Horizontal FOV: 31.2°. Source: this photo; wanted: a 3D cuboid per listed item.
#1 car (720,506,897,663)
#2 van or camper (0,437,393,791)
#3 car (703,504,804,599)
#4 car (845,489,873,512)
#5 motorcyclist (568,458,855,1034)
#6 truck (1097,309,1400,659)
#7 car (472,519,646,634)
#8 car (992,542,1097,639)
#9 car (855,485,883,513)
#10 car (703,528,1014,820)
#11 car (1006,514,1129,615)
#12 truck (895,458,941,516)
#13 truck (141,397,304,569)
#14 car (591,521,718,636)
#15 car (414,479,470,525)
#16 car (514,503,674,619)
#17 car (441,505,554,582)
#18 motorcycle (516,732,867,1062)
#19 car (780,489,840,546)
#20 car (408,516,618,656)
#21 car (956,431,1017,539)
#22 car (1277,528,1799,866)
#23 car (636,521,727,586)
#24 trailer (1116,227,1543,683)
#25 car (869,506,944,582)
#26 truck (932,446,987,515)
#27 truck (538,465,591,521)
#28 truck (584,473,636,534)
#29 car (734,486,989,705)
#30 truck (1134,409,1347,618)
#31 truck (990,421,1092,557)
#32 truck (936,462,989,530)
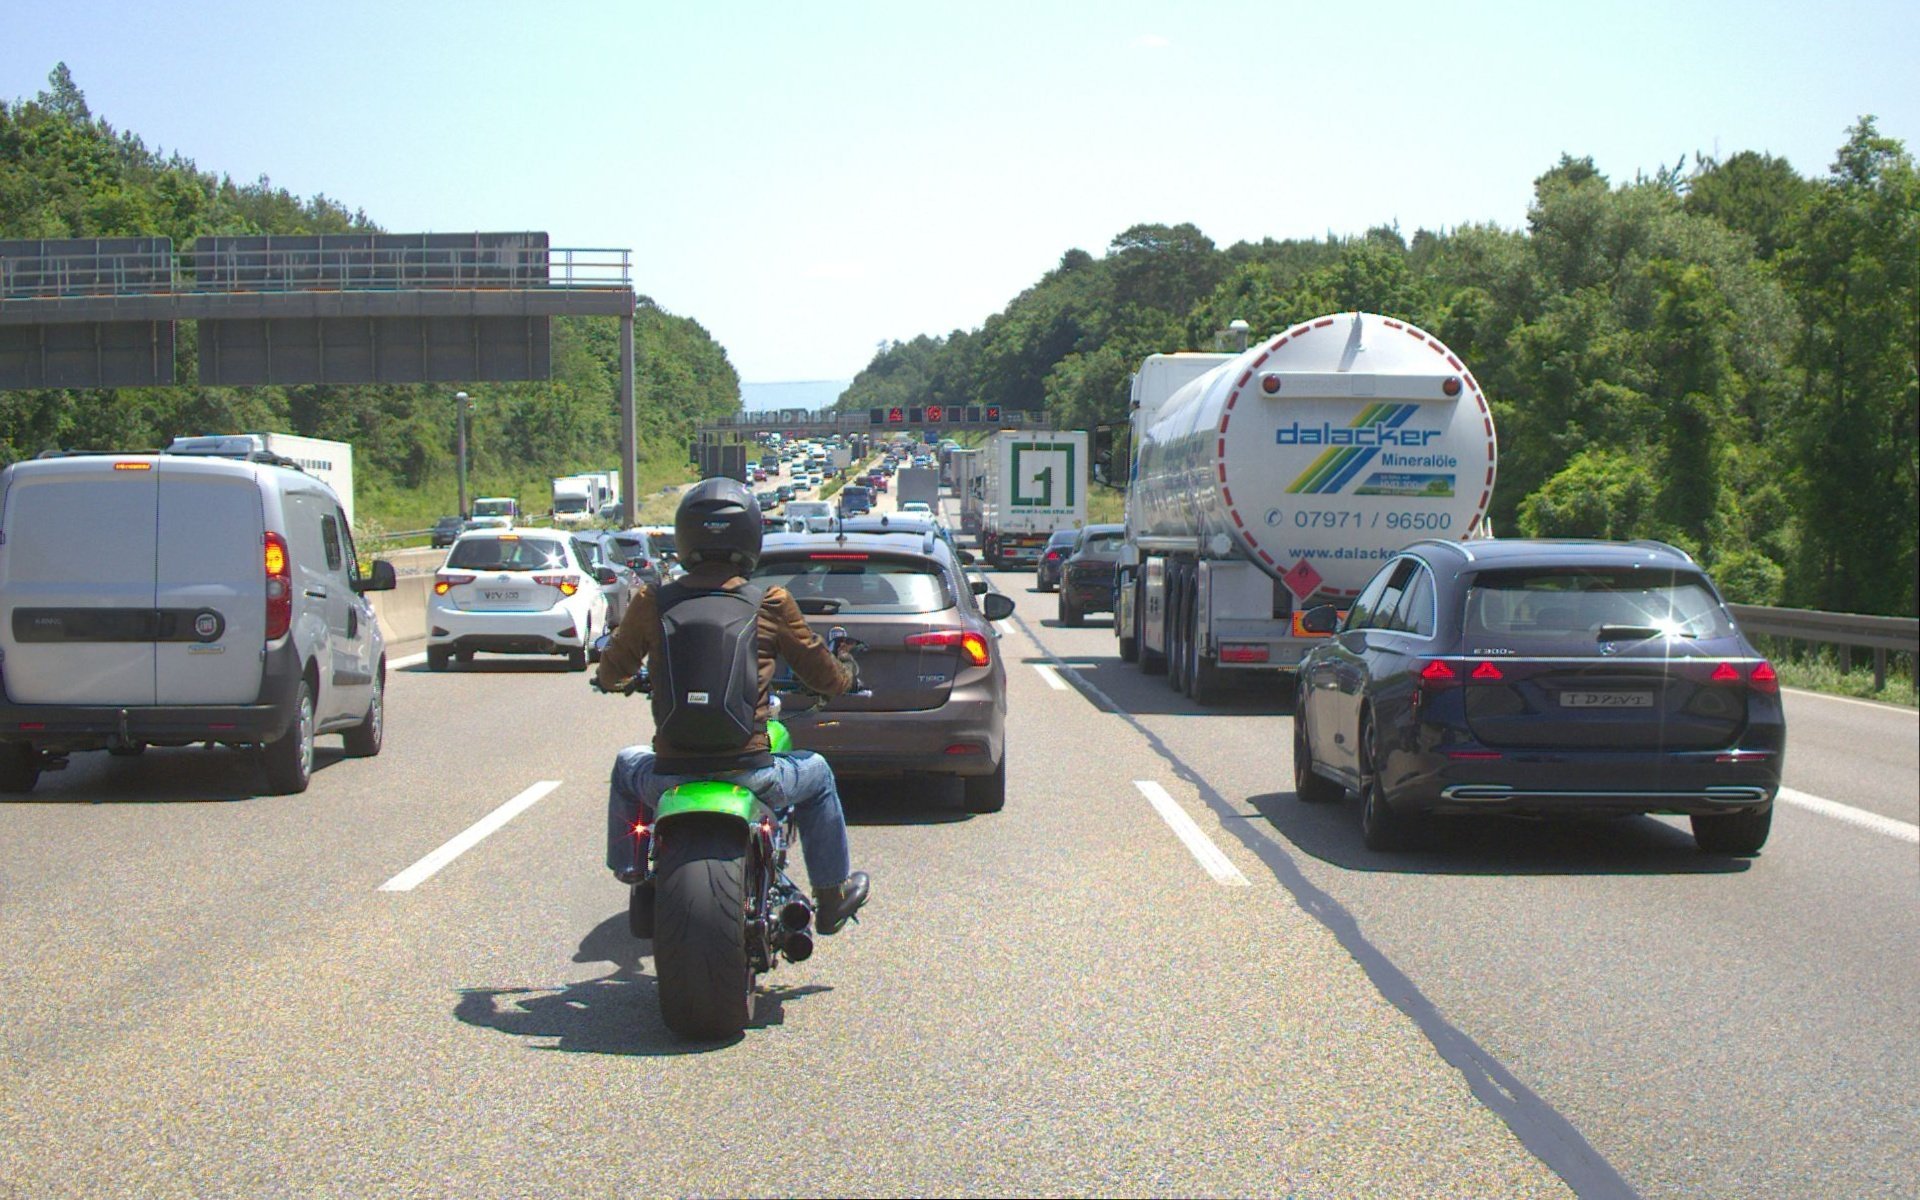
[{"bbox_3d":[-1.782,-0.188,41.330,1.993,1.769,4.000,1,0,-1],"label":"car"},{"bbox_3d":[-4.578,0.005,20.681,1.853,1.874,4.562,1,2,-4],"label":"van or camper"},{"bbox_3d":[-4.508,-1.054,75.615,1.993,2.007,4.000,1,0,-1],"label":"car"},{"bbox_3d":[-6.858,-6.754,233.511,1.770,1.550,4.000,0,1,-1],"label":"car"},{"bbox_3d":[-0.745,0.425,10.594,0.799,1.682,1.016,1,0,-1],"label":"motorcyclist"},{"bbox_3d":[3.174,-1.244,39.464,2.828,3.658,6.430,1,0,-1],"label":"truck"},{"bbox_3d":[-5.363,-0.315,46.425,1.993,1.459,4.000,1,0,-2],"label":"car"},{"bbox_3d":[1.782,-0.209,73.909,1.993,2.007,4.000,1,0,-2],"label":"car"},{"bbox_3d":[-6.896,-7.656,260.670,1.993,2.007,4.000,0,1,-1],"label":"car"},{"bbox_3d":[-0.529,0.329,19.270,1.541,1.445,4.000,1,1,-1],"label":"car"},{"bbox_3d":[1.682,-0.562,54.858,1.776,1.522,4.000,1,0,-1],"label":"car"},{"bbox_3d":[-2.555,-6.797,208.427,2.696,3.393,10.479,0,1,-1],"label":"truck"},{"bbox_3d":[-20.075,-3.094,93.964,2.949,4.466,7.519,1,0,-1],"label":"truck"},{"bbox_3d":[-5.521,-0.393,62.565,1.993,2.007,4.000,1,0,-1],"label":"car"},{"bbox_3d":[-24.078,-4.552,159.851,1.993,2.007,4.000,1,0,-1],"label":"car"},{"bbox_3d":[-5.525,-0.584,52.394,1.993,1.678,4.330,1,0,-1],"label":"car"},{"bbox_3d":[-9.211,-1.151,68.675,1.824,1.489,4.001,0,1,-2],"label":"car"},{"bbox_3d":[-0.787,0.880,10.823,0.936,0.790,2.299,1,1,-1],"label":"motorcycle"},{"bbox_3d":[-5.353,-2.951,122.996,1.993,2.007,4.000,0,1,-1],"label":"car"},{"bbox_3d":[-4.768,-0.161,37.137,1.776,1.406,4.000,1,0,-1],"label":"car"},{"bbox_3d":[0.975,-4.375,132.698,2.167,3.879,9.330,1,0,-1],"label":"car"},{"bbox_3d":[2.737,0.409,17.330,1.792,1.453,4.624,1,0,-1],"label":"car"},{"bbox_3d":[-6.394,-1.056,79.277,1.764,1.437,4.000,1,0,0],"label":"car"},{"bbox_3d":[3.239,-1.215,33.230,2.828,3.658,10.733,1,0,-1],"label":"trailer"},{"bbox_3d":[-1.455,-1.528,93.360,1.993,2.007,4.000,0,1,-1],"label":"car"},{"bbox_3d":[-0.049,-6.069,176.301,2.696,3.393,10.479,0,1,-1],"label":"truck"},{"bbox_3d":[-21.394,-5.758,186.285,2.177,2.875,6.743,1,0,-1],"label":"truck"},{"bbox_3d":[-23.688,-6.514,233.011,2.692,3.976,7.991,1,0,0],"label":"truck"},{"bbox_3d":[-0.830,-0.049,29.191,1.993,1.705,4.000,1,0,-1],"label":"car"},{"bbox_3d":[4.230,-1.339,53.394,2.388,2.969,8.253,0,1,-2],"label":"truck"},{"bbox_3d":[2.449,-3.216,101.703,2.854,3.808,7.187,1,0,2],"label":"truck"},{"bbox_3d":[0.107,-3.404,113.017,1.591,2.104,3.751,1,0,2],"label":"truck"}]
